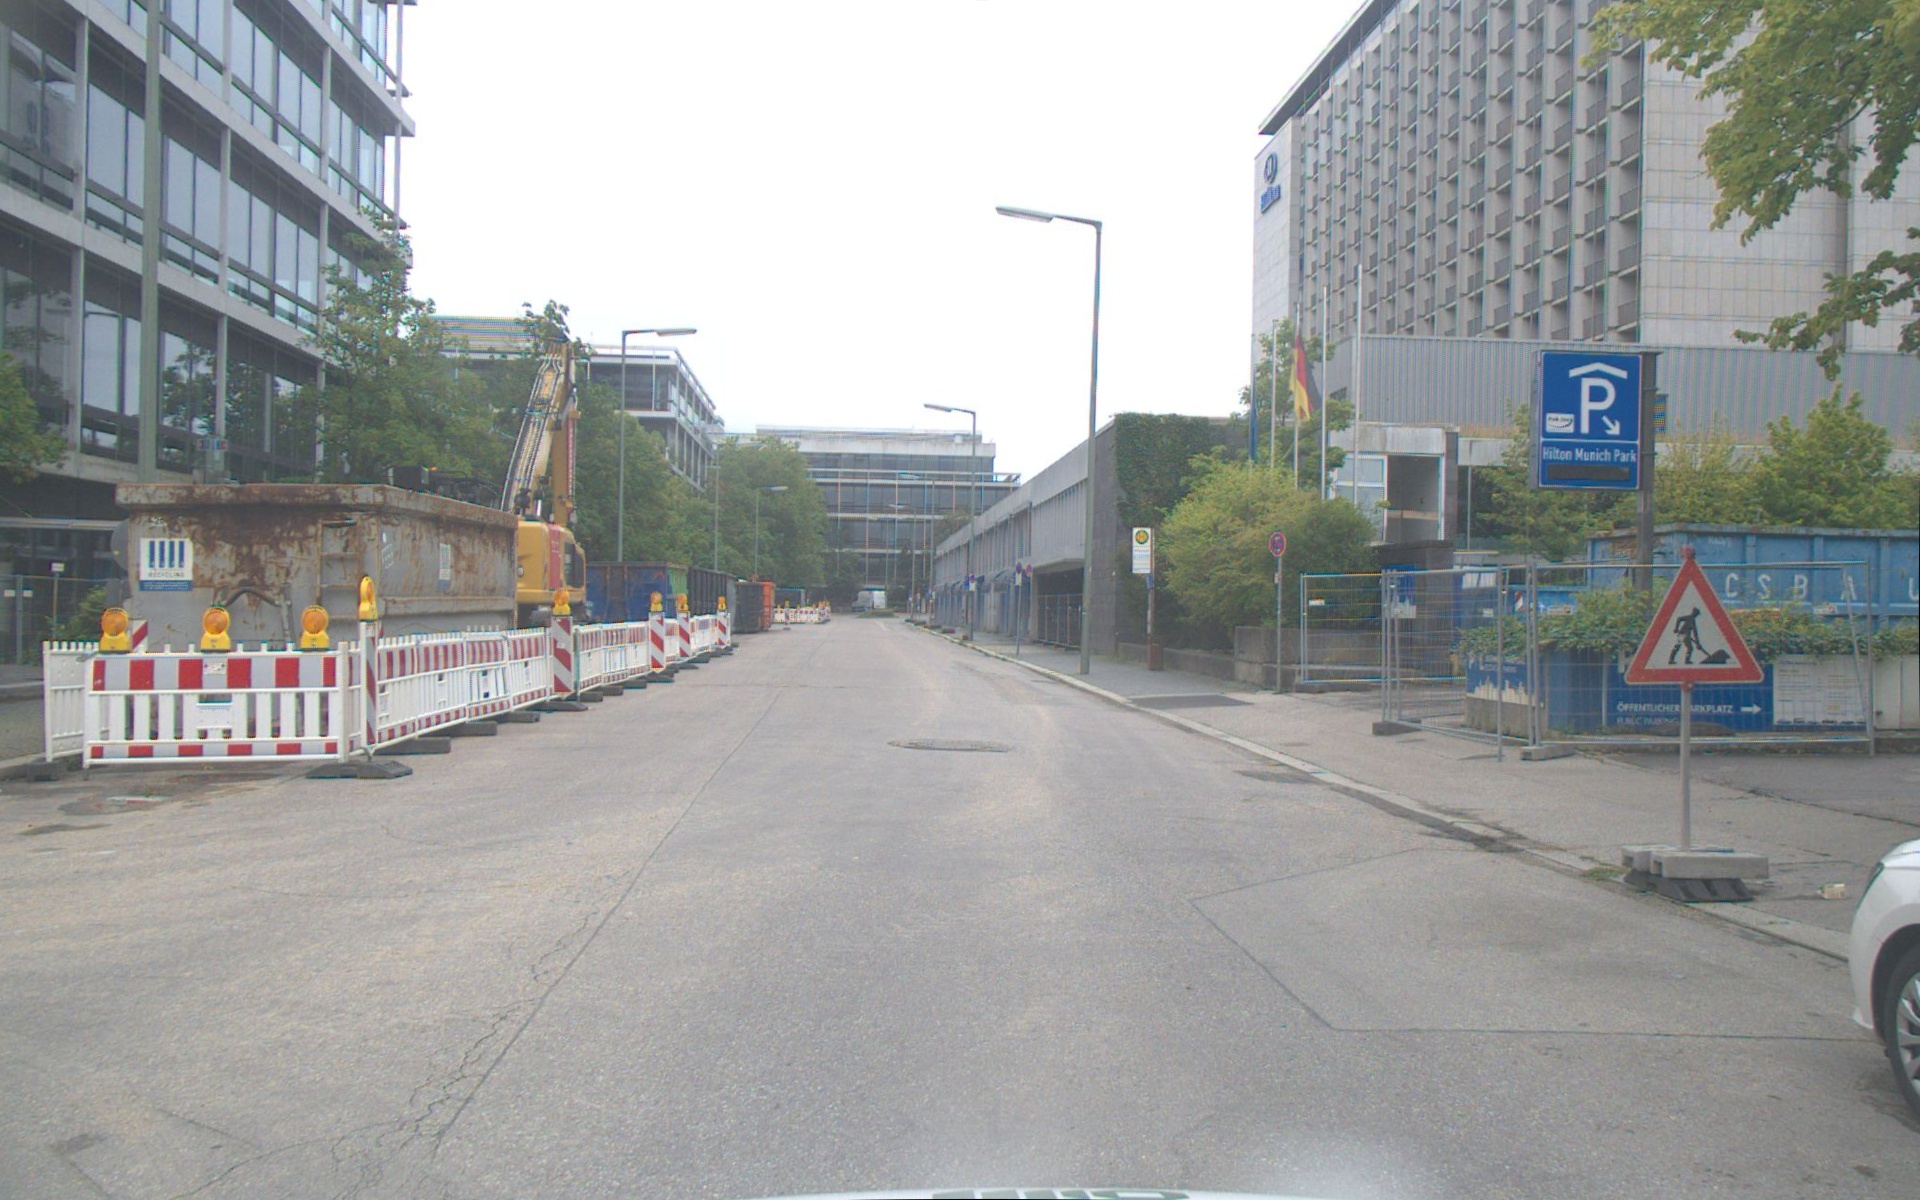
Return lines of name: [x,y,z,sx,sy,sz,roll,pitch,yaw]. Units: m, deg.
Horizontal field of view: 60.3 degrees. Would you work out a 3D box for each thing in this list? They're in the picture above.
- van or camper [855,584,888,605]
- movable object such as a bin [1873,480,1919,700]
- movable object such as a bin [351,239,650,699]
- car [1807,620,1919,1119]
van or camper: [-10.914,-0.649,203.015,2.062,2.535,5.018,1,0,-29]
movable object such as a bin: [19.911,-0.164,29.174,7.087,3.748,3.848,0,0,-33]
movable object such as a bin: [-7.800,-1.853,30.033,2.847,6.679,11.773,1,-1,-4]
car: [3.827,0.803,3.675,1.502,1.518,4.055,1,-1,-6]
